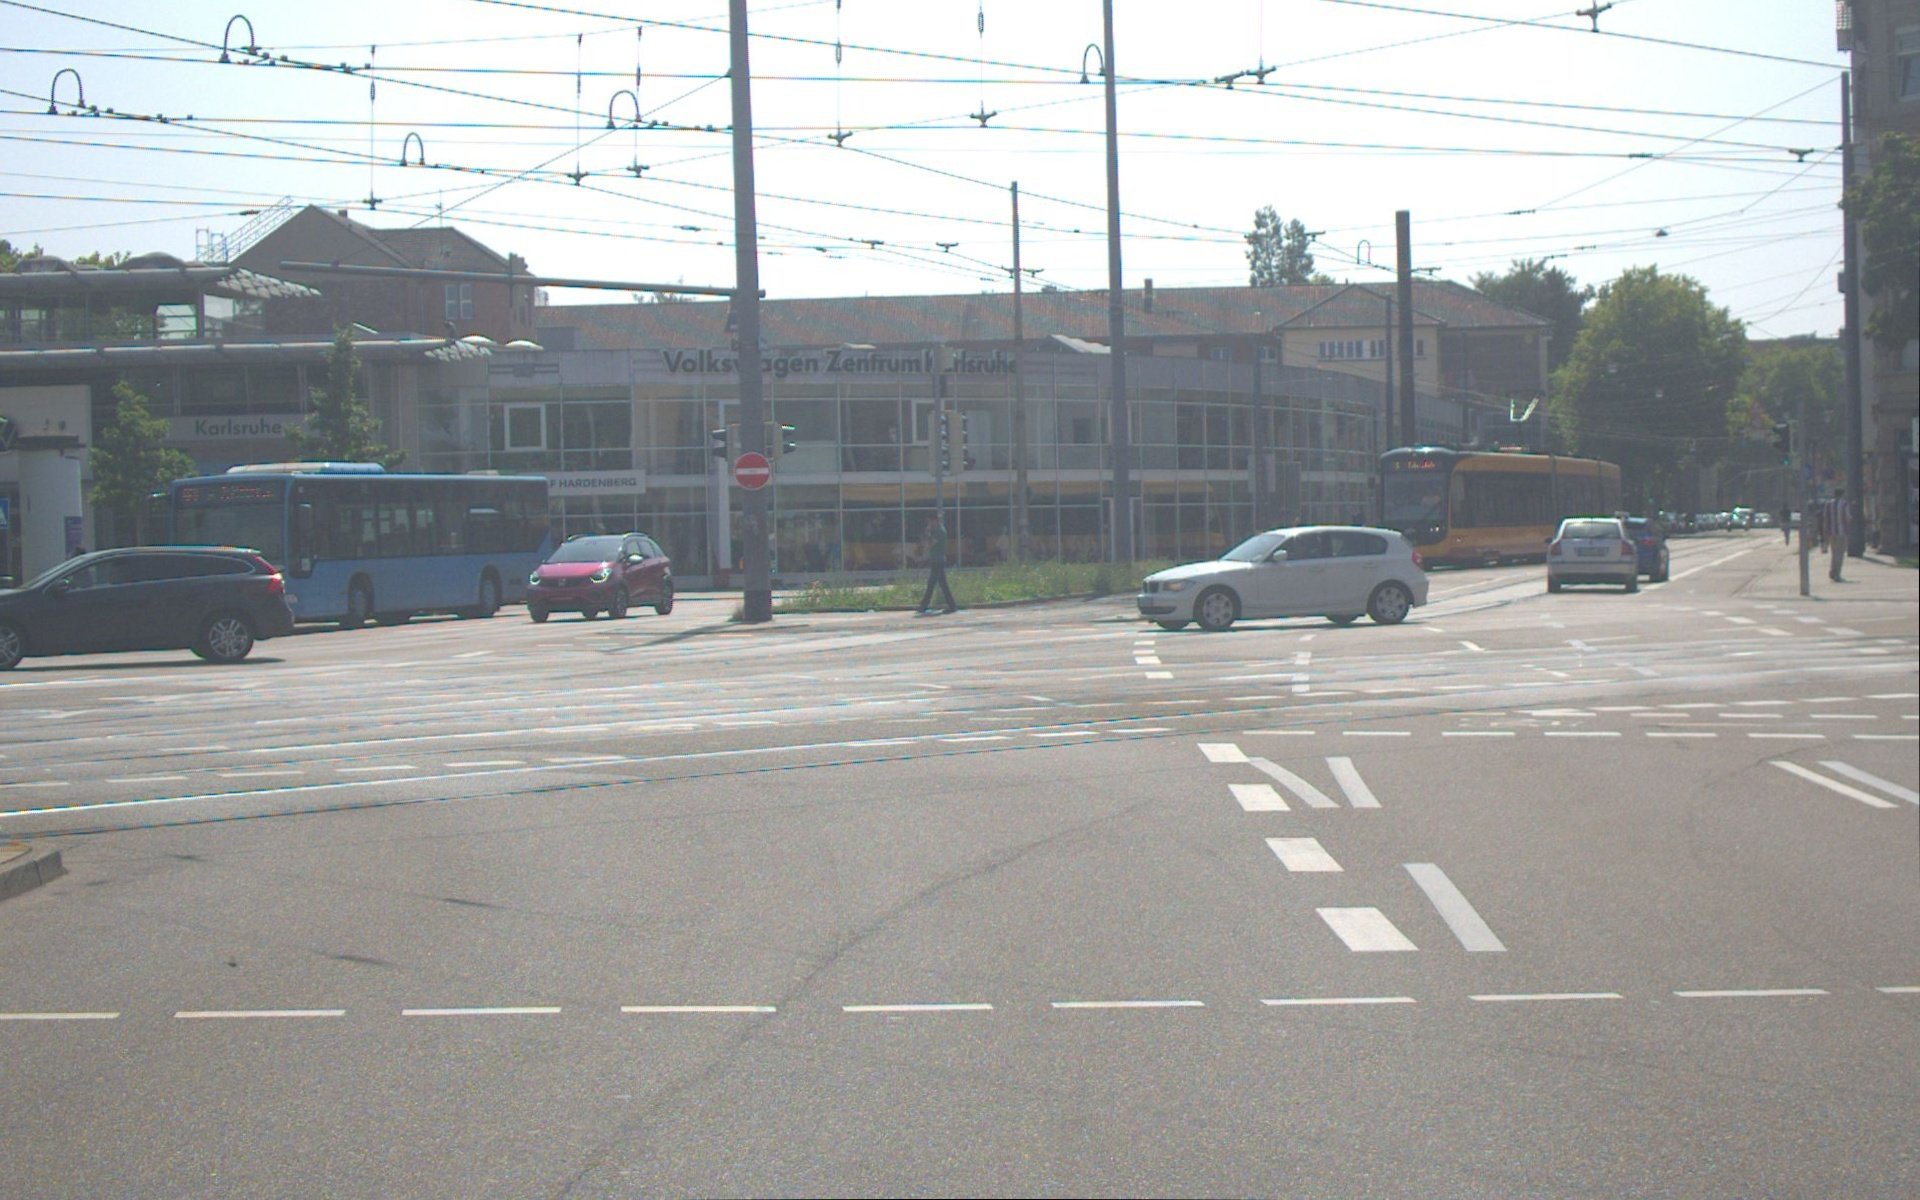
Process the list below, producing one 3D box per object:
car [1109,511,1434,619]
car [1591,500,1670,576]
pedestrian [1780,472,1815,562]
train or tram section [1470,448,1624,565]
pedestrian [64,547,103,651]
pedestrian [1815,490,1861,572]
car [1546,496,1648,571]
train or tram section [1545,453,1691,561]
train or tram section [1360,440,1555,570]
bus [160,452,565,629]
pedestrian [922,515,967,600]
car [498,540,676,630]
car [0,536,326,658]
[{"bbox_3d":[4.402,-0.508,48.635,4.187,1.411,1.776,-2,1,-19],"label":"car"},{"bbox_3d":[14.884,-1.377,76.242,1.637,1.612,3.998,-1,1,12],"label":"car"},{"bbox_3d":[28.385,-2.808,116.558,0.983,3.007,0.974,-1,1,6],"label":"pedestrian"},{"bbox_3d":[18.671,-2.958,108.859,2.591,3.504,9.647,-1,1,23],"label":"train or tram section"},{"bbox_3d":[-14.279,-0.018,56.004,0.552,1.678,0.454,-1,1,-18],"label":"pedestrian"},{"bbox_3d":[17.429,-1.371,68.266,0.699,1.597,0.573,-1,1,-8],"label":"pedestrian"},{"bbox_3d":[12.657,-1.329,68.176,1.771,1.411,4.187,-1,1,13],"label":"car"},{"bbox_3d":[22.959,-3.206,119.323,2.591,3.504,12.959,-1,1,21],"label":"train or tram section"},{"bbox_3d":[14.516,-2.732,99.441,2.592,3.504,10.885,-1,1,25],"label":"train or tram section"},{"bbox_3d":[-11.257,-1.181,66.616,2.564,3.072,12.014,-1,1,17],"label":"bus"},{"bbox_3d":[-0.268,-0.737,58.996,0.676,1.438,0.366,-1,1,-17],"label":"pedestrian"},{"bbox_3d":[-6.825,-0.297,63.353,1.751,1.546,3.997,-1,1,18],"label":"car"},{"bbox_3d":[-10.548,-0.056,43.383,4.752,1.411,1.776,-2,1,-19],"label":"car"}]
